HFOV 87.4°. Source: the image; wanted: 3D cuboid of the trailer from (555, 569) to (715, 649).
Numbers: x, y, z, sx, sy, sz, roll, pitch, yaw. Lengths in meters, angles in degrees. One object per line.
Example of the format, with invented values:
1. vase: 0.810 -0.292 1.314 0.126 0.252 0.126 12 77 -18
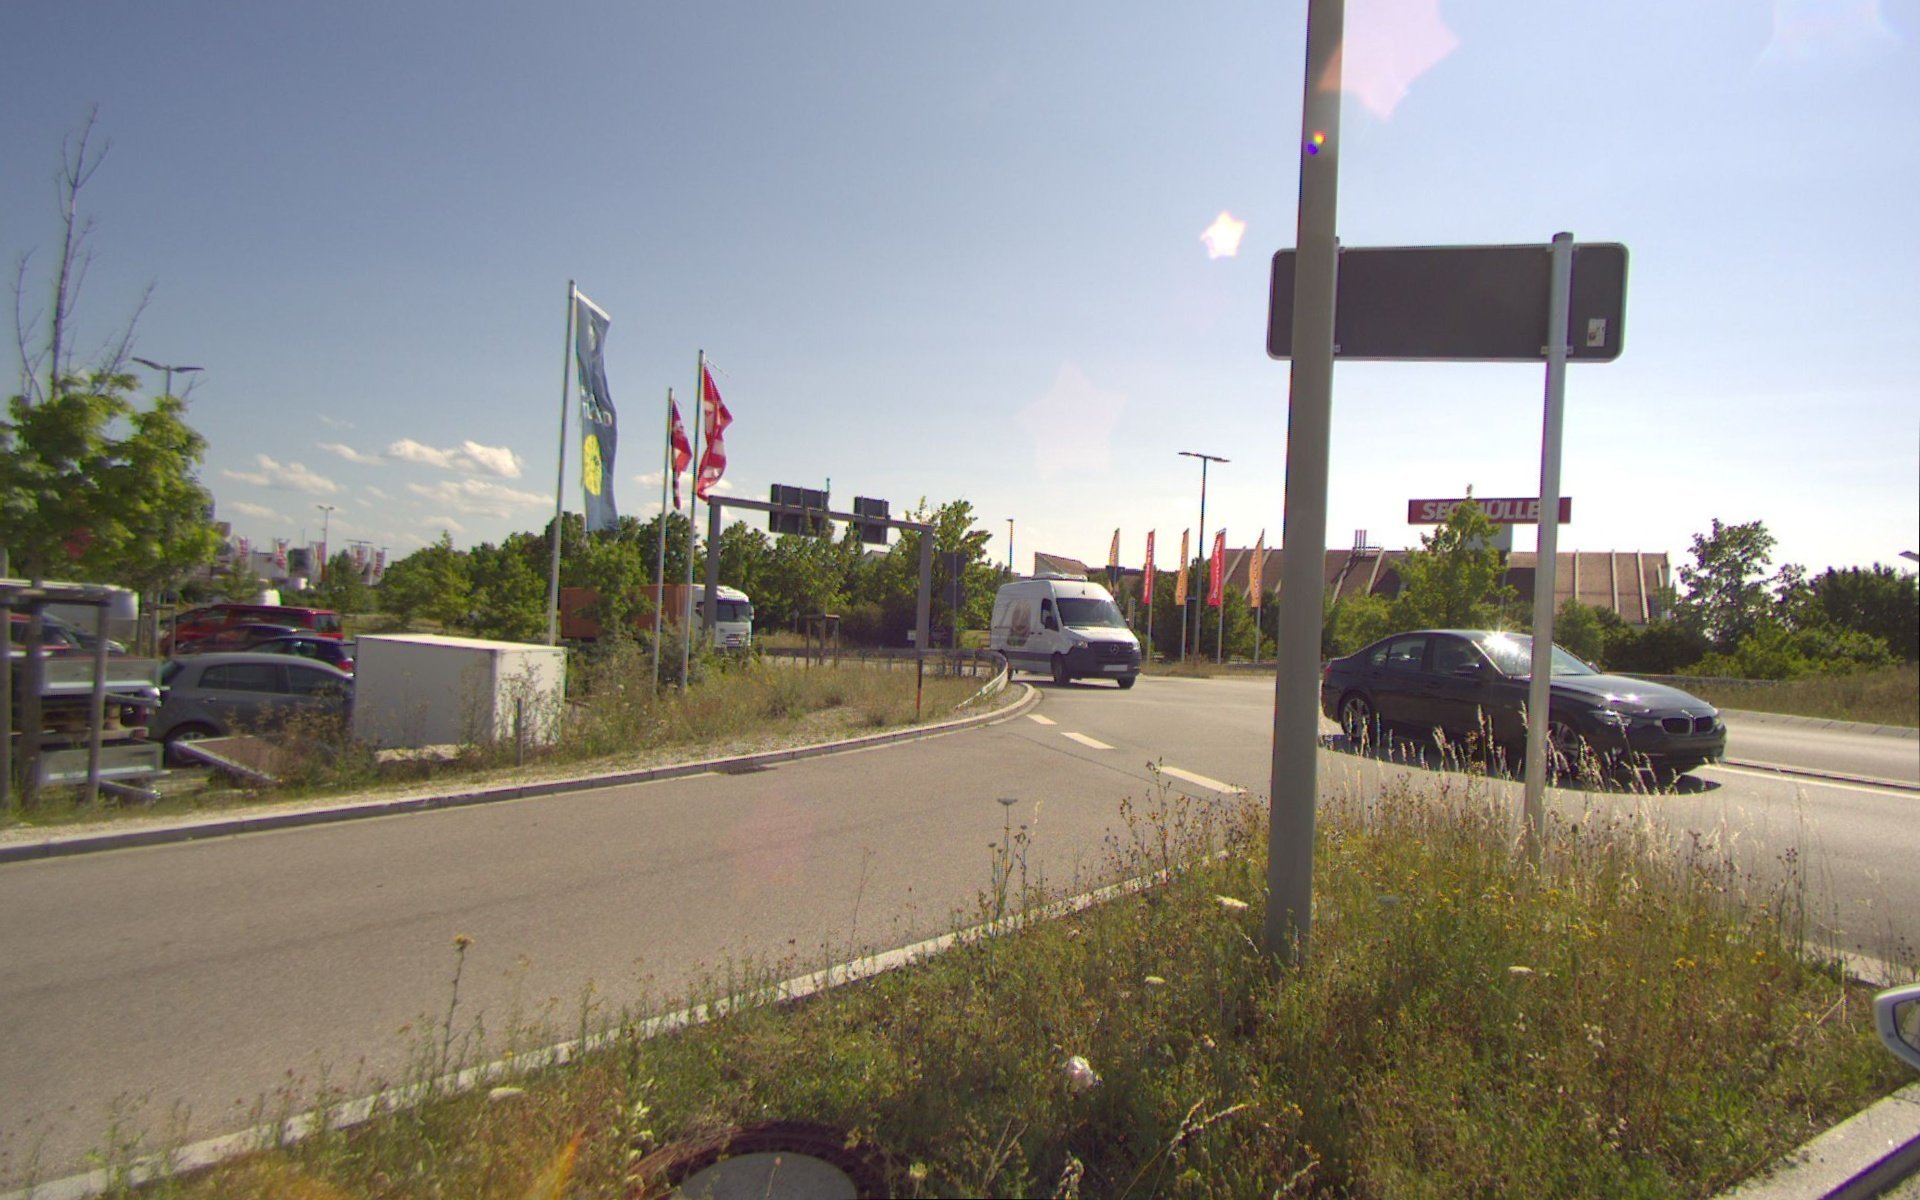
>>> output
1. trailer: -19.009 0.410 58.034 12.171 4.209 2.550 1 -1 39

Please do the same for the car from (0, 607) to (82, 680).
1. car: -21.370 0.892 21.295 3.963 1.483 1.806 2 0 -37

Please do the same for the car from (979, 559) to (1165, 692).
1. car: 2.634 0.698 25.607 2.054 2.959 6.108 2 -3 -21

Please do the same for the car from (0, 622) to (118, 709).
1. car: -17.385 1.127 17.596 3.970 1.483 1.803 2 -3 -42

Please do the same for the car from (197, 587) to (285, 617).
1. car: -61.581 0.184 86.100 6.148 2.264 2.040 2 0 4

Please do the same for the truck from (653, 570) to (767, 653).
1. truck: -13.271 0.555 53.141 6.340 4.161 2.649 2 0 42

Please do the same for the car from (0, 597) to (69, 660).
1. car: -24.484 0.667 24.452 3.963 1.483 1.806 2 0 -37

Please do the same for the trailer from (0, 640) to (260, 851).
1. trailer: -9.947 1.454 11.094 3.624 1.795 1.808 2 0 19

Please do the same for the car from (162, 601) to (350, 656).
1. car: -21.613 0.853 30.989 4.371 1.483 1.824 2 0 -6

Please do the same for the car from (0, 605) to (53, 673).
1. car: -23.182 0.839 22.560 3.963 1.483 1.806 2 0 -37

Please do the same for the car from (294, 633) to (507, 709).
1. car: -13.233 1.675 23.965 3.925 1.483 1.824 4 -2 -6

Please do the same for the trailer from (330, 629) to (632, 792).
1. trailer: -6.823 1.461 14.387 3.624 1.795 1.807 4 1 19

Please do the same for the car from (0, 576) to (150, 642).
1. car: -29.680 0.314 33.326 4.315 2.040 1.881 2 0 -41

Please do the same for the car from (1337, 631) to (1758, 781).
1. car: 6.214 1.040 11.164 1.652 1.198 3.846 2 0 -21

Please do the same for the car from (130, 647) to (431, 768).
1. car: -10.561 1.576 15.759 3.712 1.572 1.724 2 0 -39

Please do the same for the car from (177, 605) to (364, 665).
1. car: -19.457 0.969 28.512 3.925 1.483 1.824 2 0 -6
